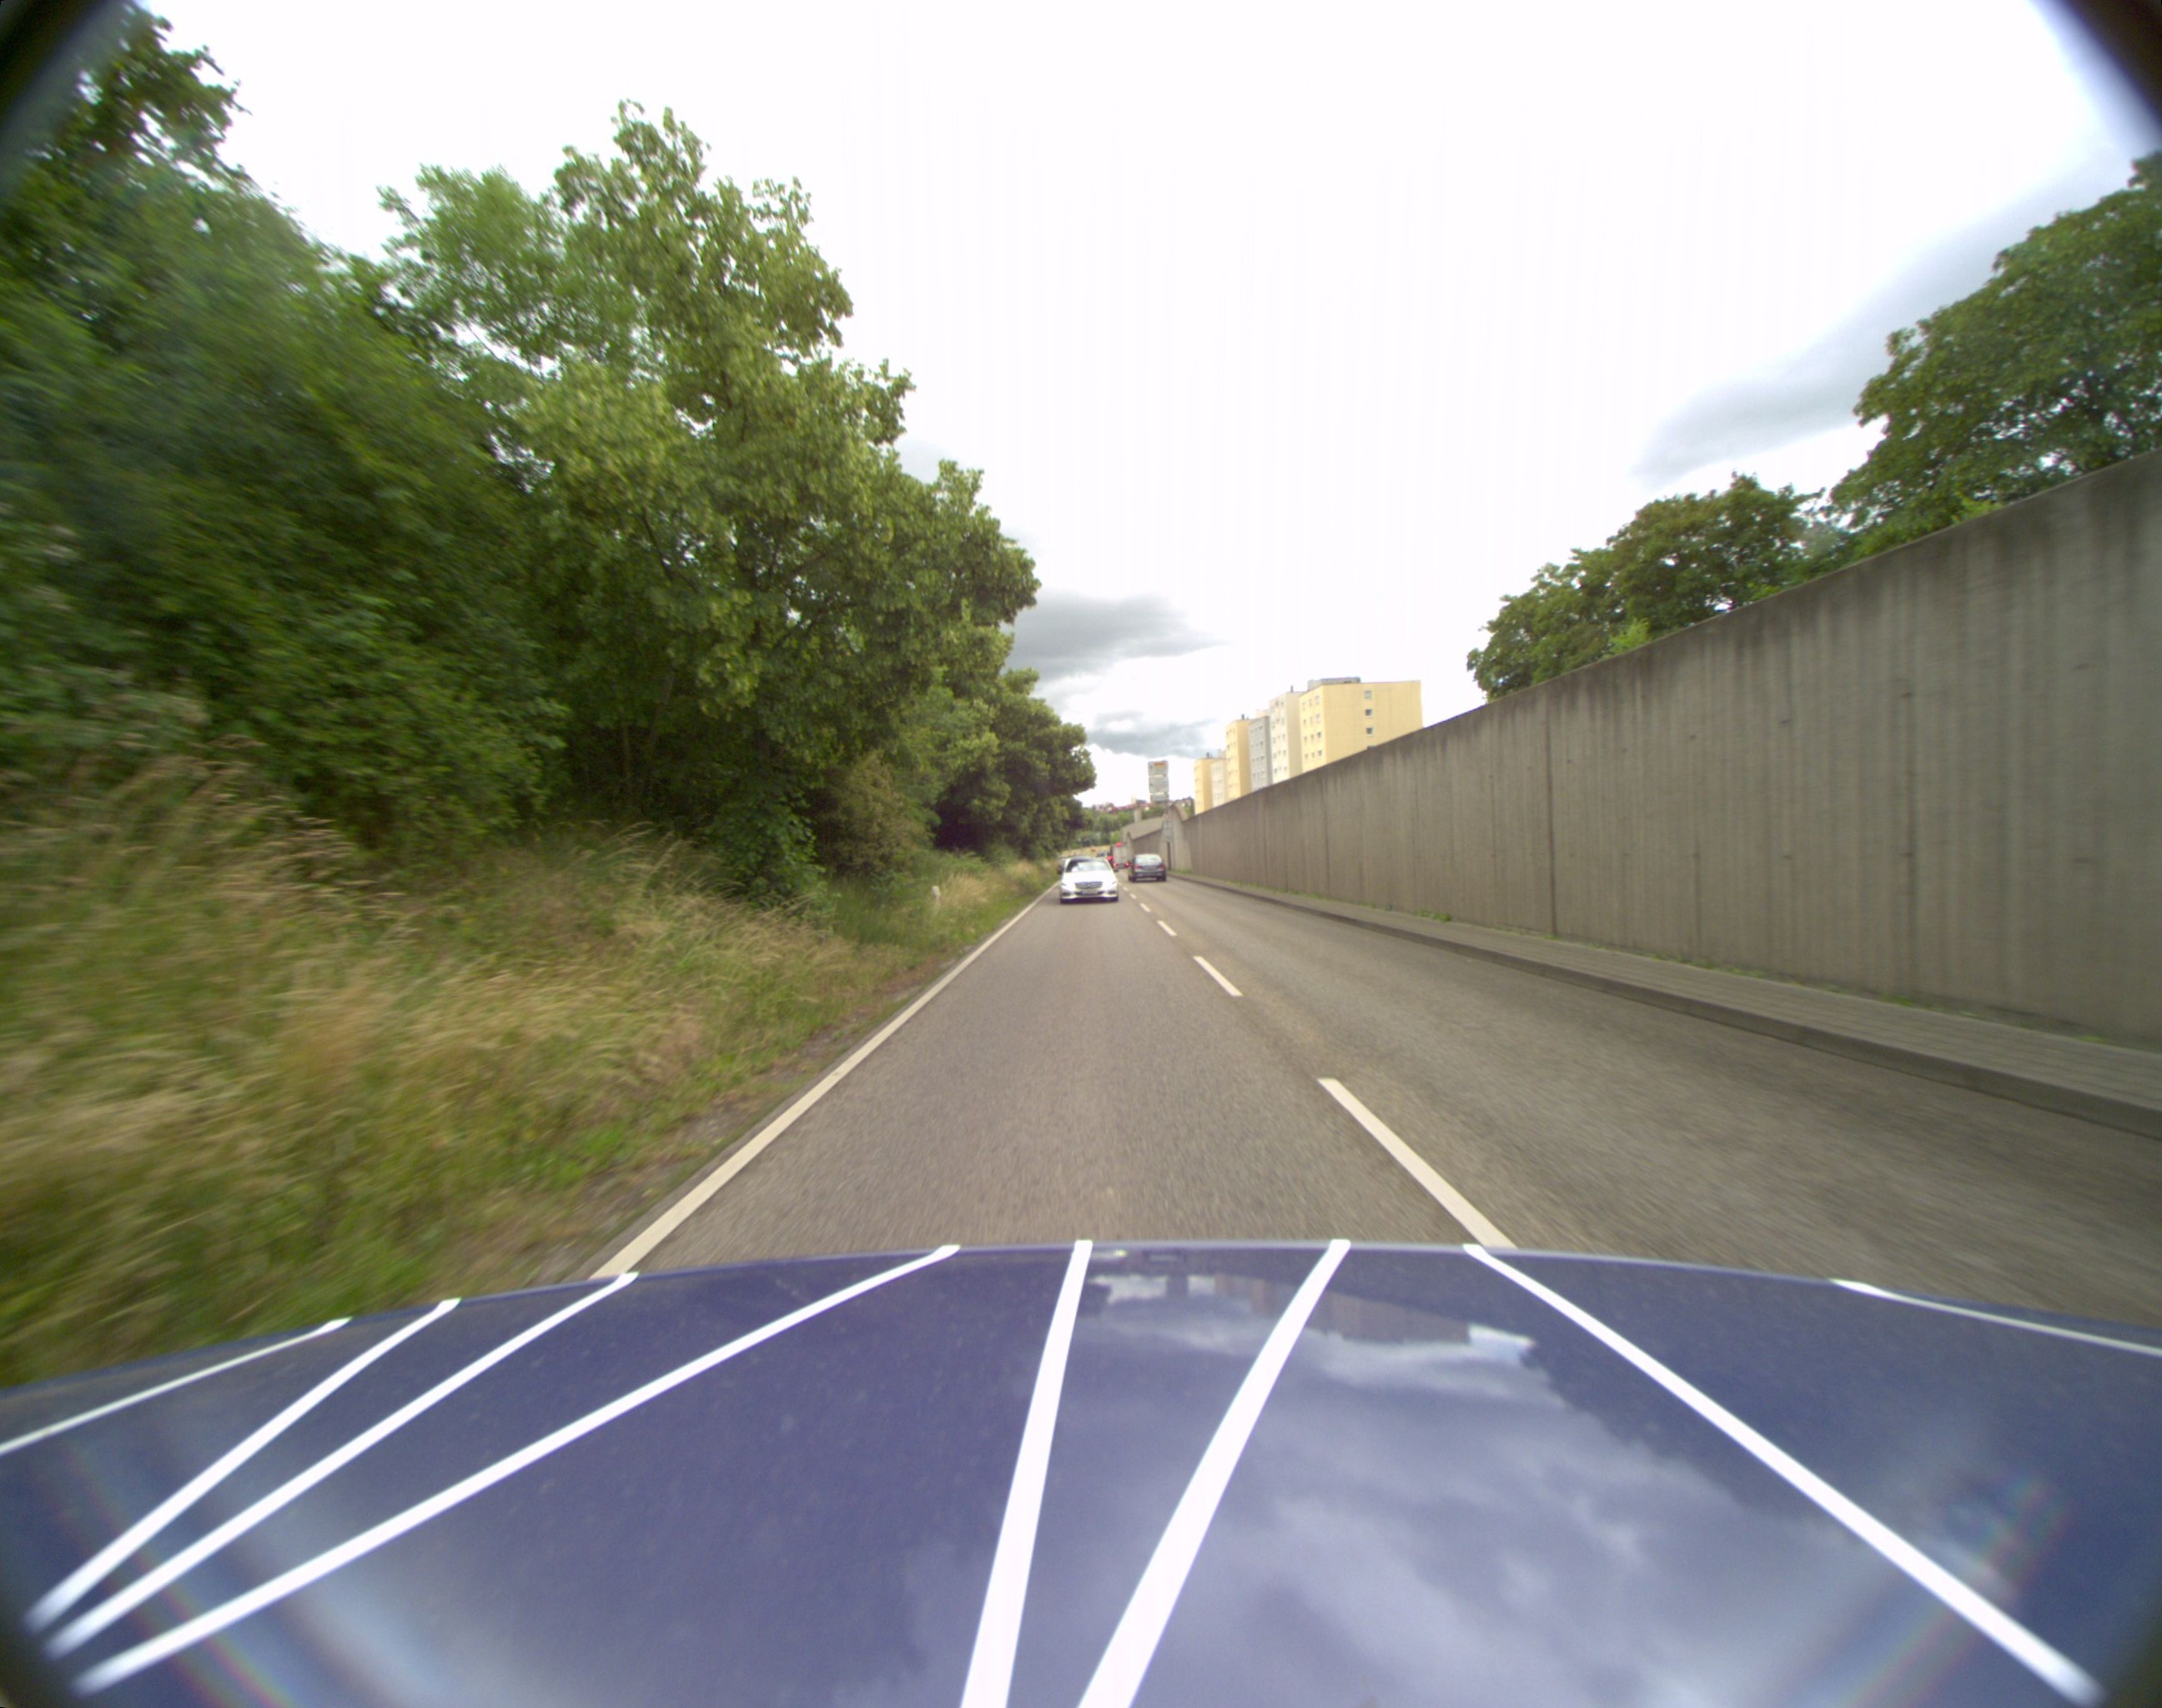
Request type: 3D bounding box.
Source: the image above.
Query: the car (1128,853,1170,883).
[{"bbox_3d":[3.650,0.707,41.519,1.897,1.475,4.823,-2,0,1],"label":"car"}]

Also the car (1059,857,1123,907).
[{"bbox_3d":[0.247,0.872,25.708,1.905,1.471,4.093,-2,0,-3],"label":"car"}]

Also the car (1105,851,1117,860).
[{"bbox_3d":[5.239,0.262,132.932,1.920,1.487,4.208,-3,0,2],"label":"car"}]

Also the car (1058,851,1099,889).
[{"bbox_3d":[-0.196,0.749,37.309,1.759,1.532,3.998,-6,1,-2],"label":"car"}]

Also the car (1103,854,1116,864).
[{"bbox_3d":[4.432,0.745,118.840,1.772,1.487,4.208,-3,0,0],"label":"car"}]

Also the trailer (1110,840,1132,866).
[{"bbox_3d":[4.279,-0.082,81.341,2.115,2.615,4.371,-2,0,1],"label":"trailer"}]

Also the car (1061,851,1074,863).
[{"bbox_3d":[-2.230,0.497,127.245,1.895,1.623,4.424,-3,2,0],"label":"car"}]

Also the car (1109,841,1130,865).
[{"bbox_3d":[4.373,-0.102,87.260,2.115,2.615,7.417,-2,0,1],"label":"car"}]
